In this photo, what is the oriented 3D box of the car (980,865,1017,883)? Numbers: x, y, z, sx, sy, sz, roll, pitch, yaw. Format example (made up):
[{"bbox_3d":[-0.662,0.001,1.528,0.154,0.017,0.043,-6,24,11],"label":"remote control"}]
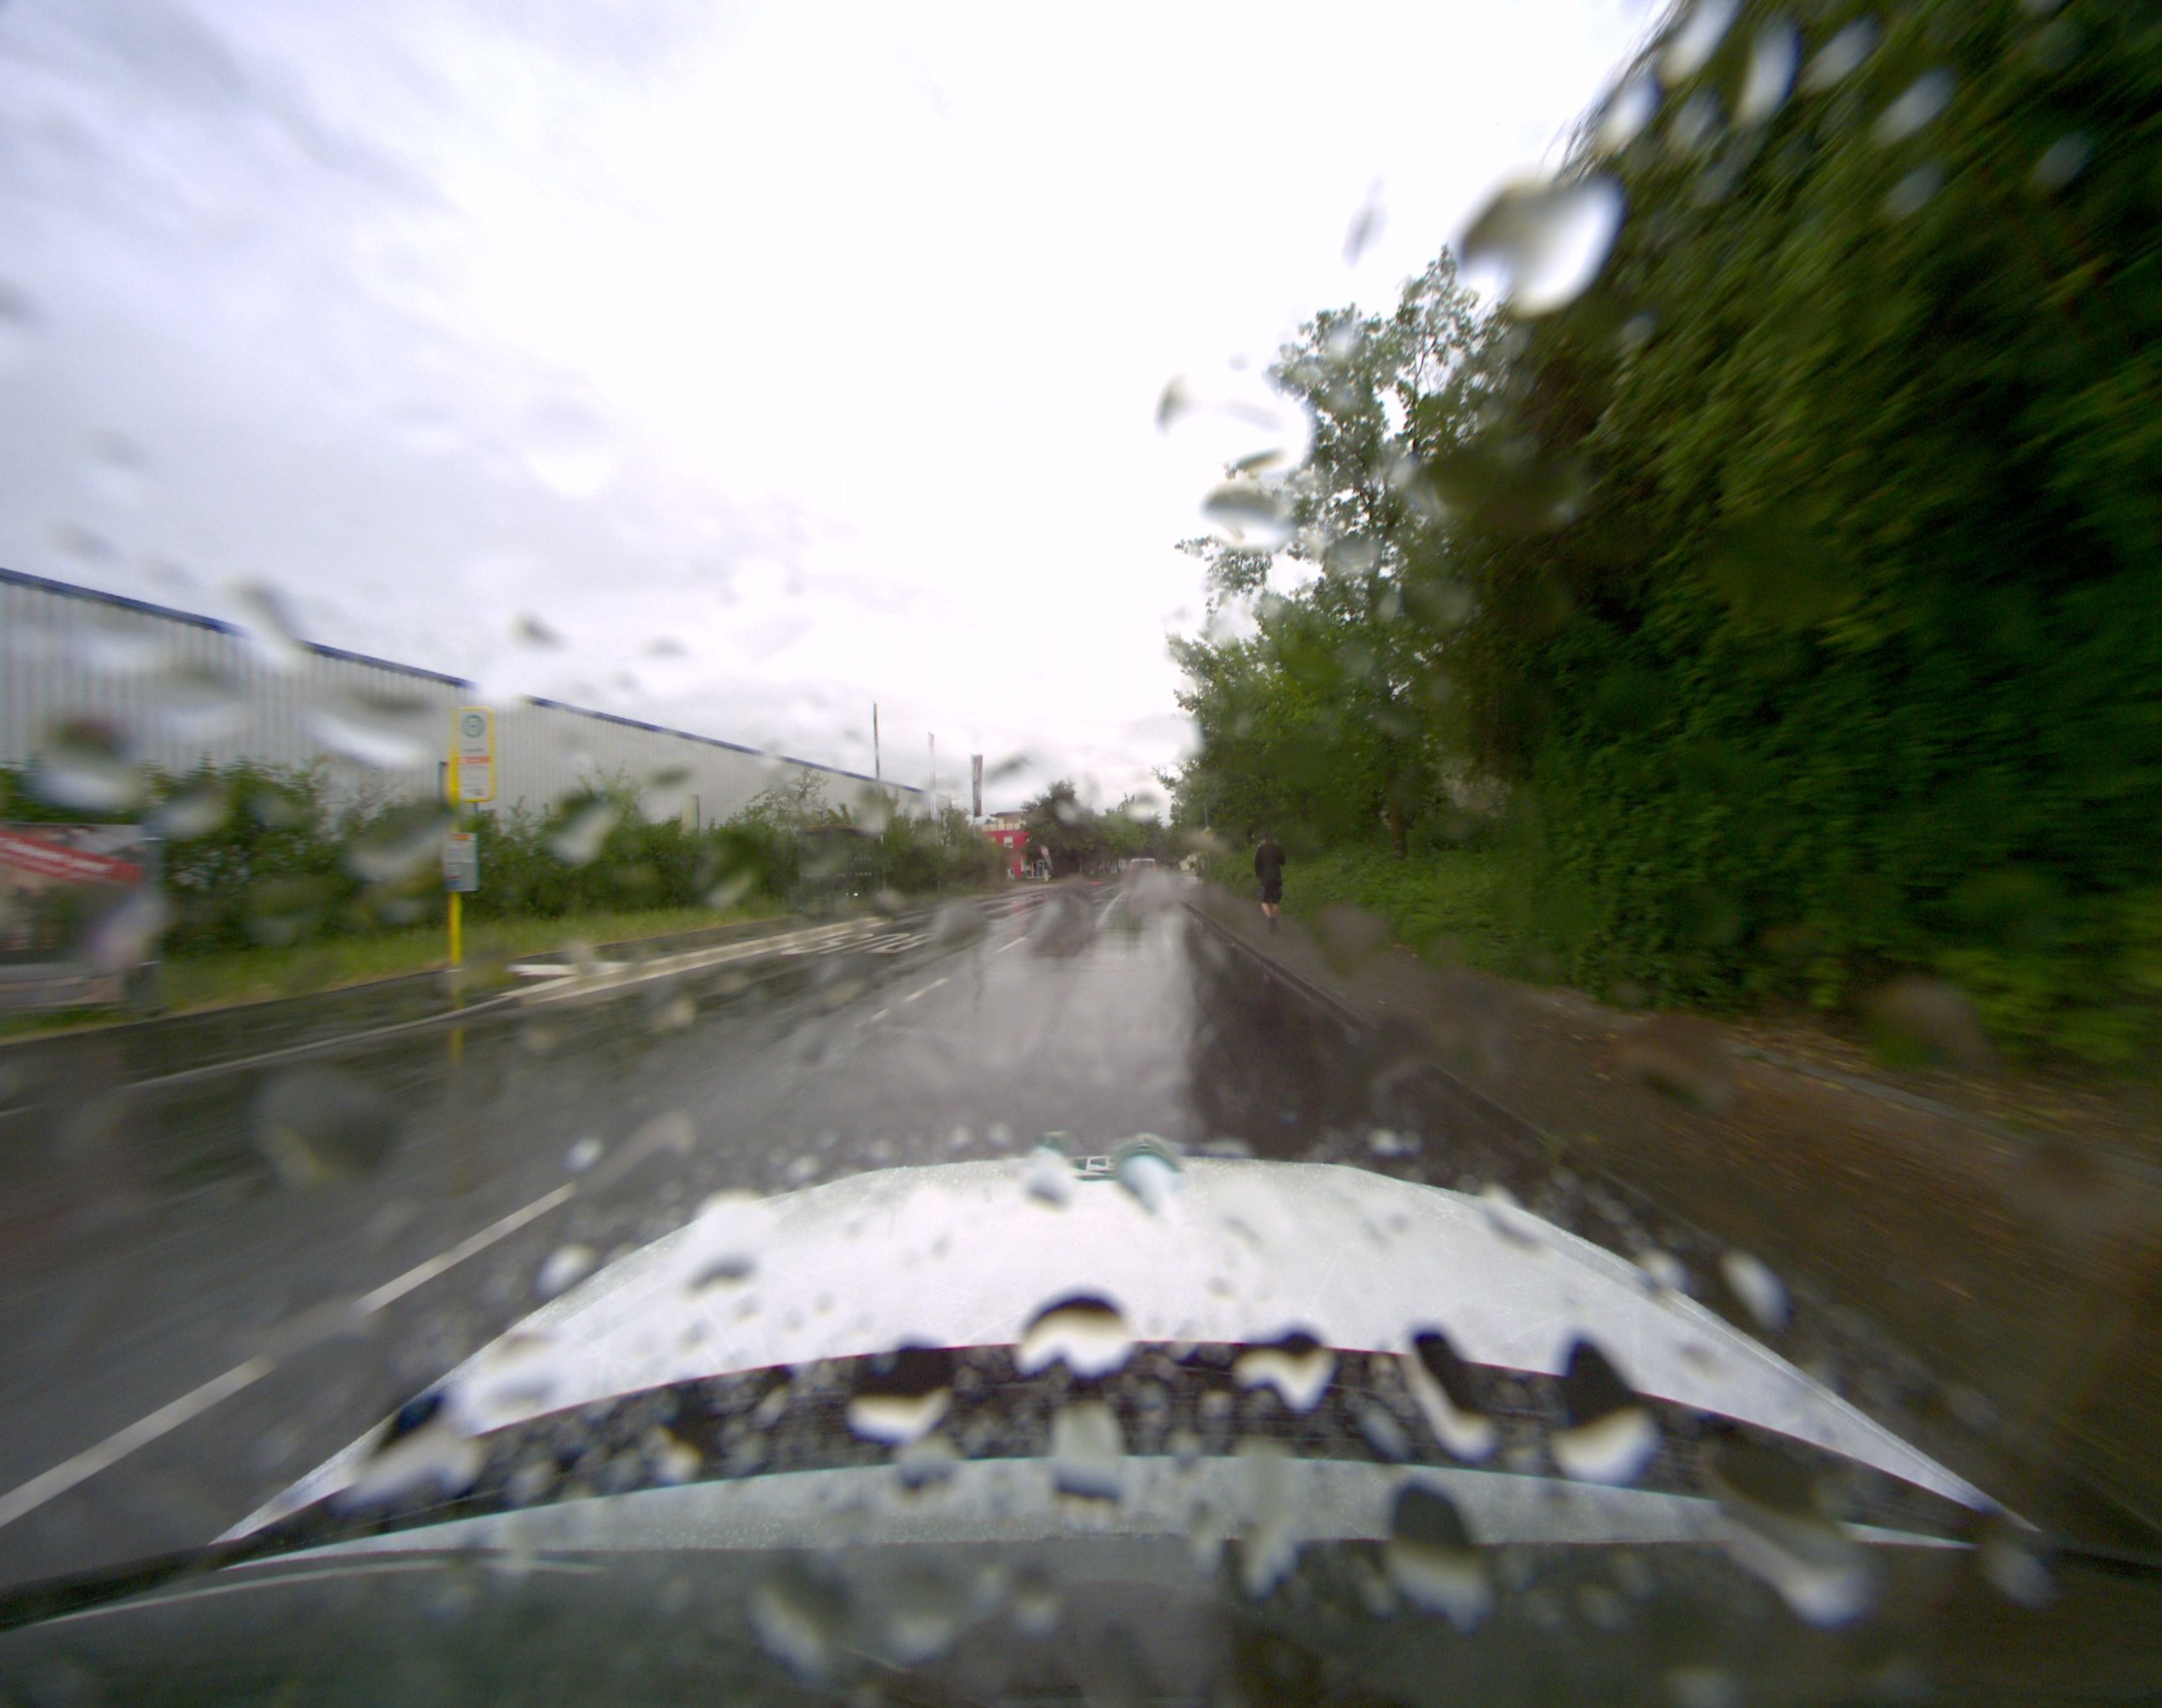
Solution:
[{"bbox_3d":[-11.157,2.699,110.691,4.446,2.310,2.192,-1,0,12],"label":"car"}]

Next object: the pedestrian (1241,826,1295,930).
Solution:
[{"bbox_3d":[3.456,0.439,15.123,0.742,1.838,0.890,-3,-1,2],"label":"pedestrian"}]

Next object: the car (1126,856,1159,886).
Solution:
[{"bbox_3d":[4.173,1.123,55.387,2.107,1.888,4.508,-1,0,5],"label":"car"}]
